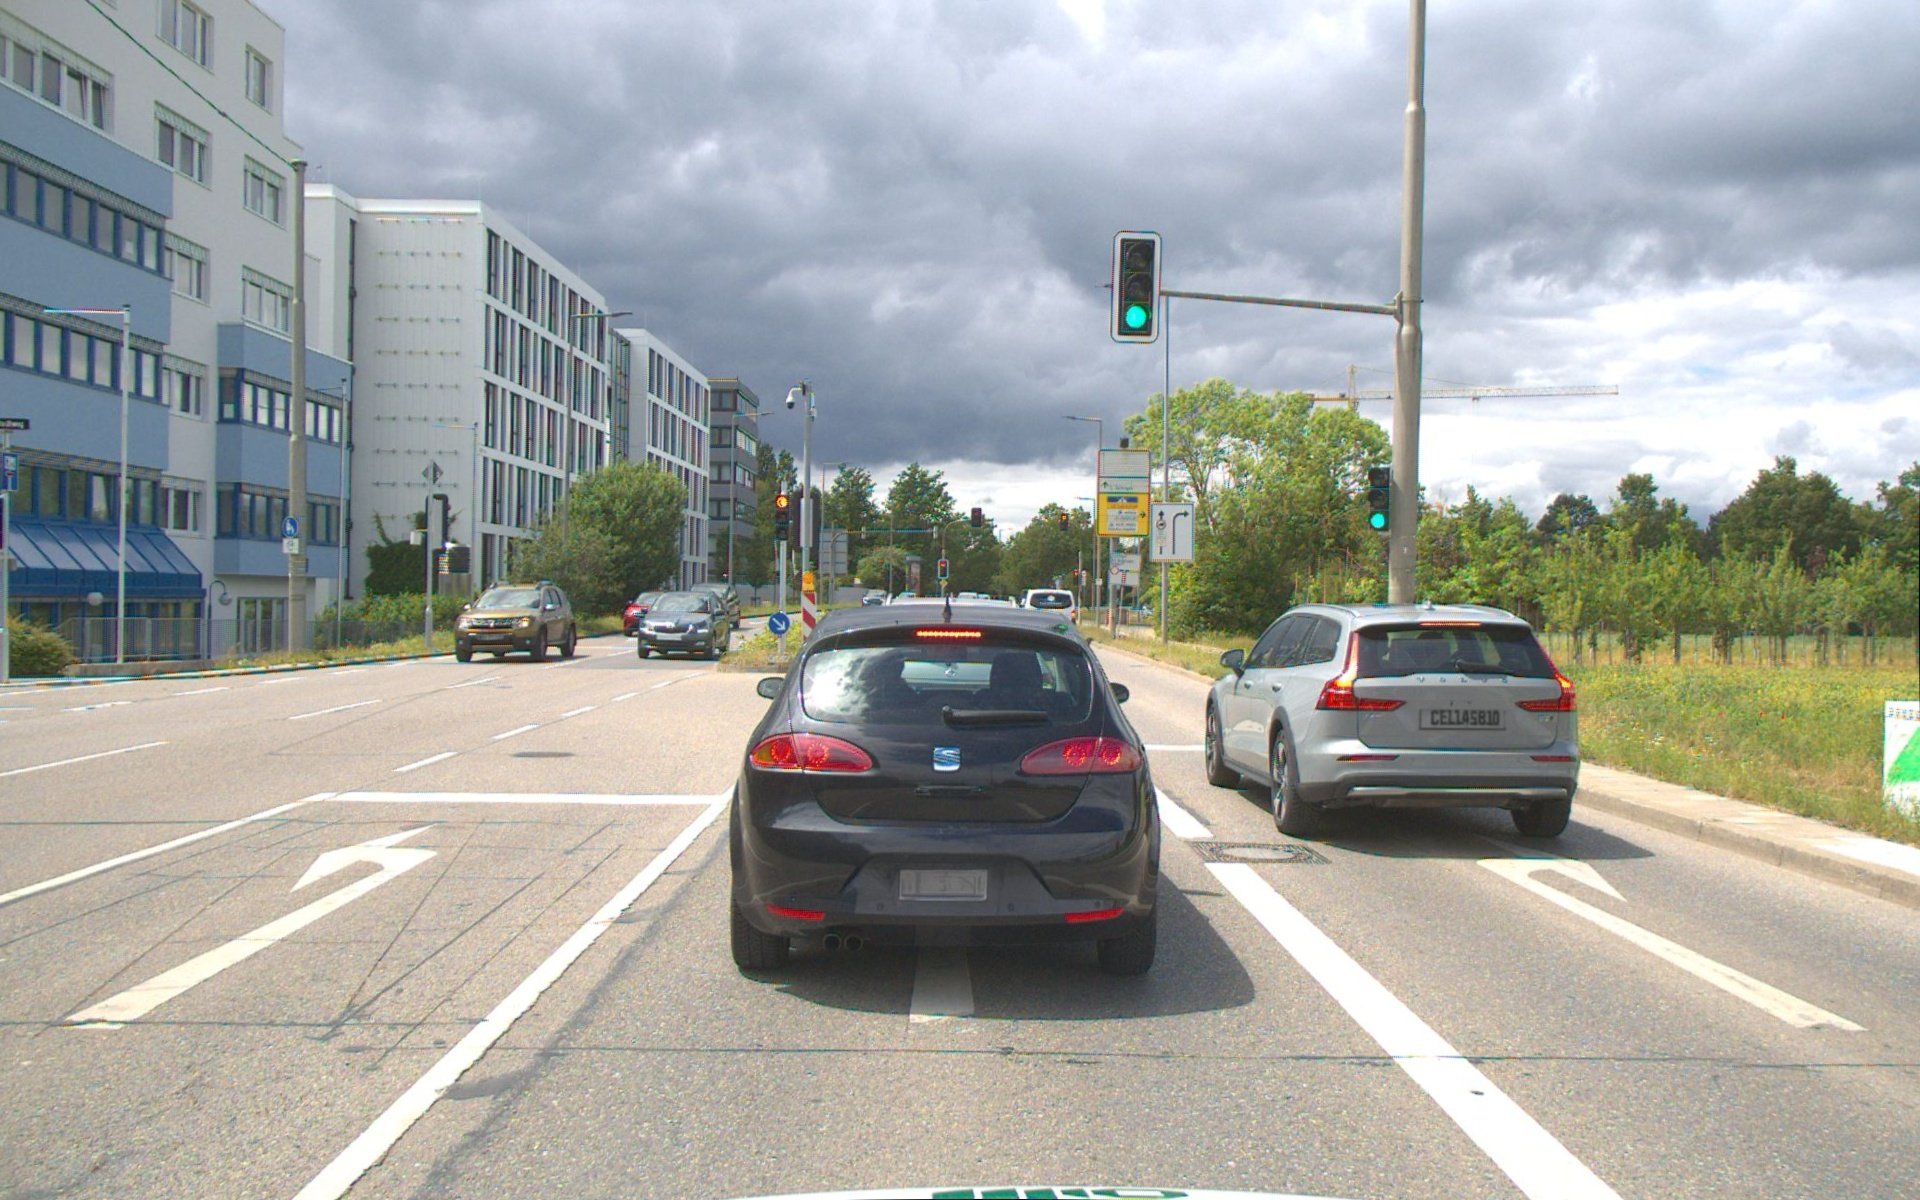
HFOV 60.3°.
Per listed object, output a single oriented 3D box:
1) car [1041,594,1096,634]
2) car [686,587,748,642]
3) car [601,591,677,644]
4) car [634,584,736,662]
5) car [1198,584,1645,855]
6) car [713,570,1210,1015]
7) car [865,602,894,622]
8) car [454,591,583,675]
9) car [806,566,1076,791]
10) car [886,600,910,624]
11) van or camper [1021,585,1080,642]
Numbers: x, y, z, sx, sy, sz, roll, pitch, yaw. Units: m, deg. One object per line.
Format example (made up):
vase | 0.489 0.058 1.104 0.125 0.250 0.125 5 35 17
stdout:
car | 4.138 0.544 63.542 1.808 1.487 4.055 0 0 -1
car | -9.331 0.568 63.874 1.954 2.049 4.478 0 0 -3
car | -10.380 0.568 53.746 1.740 1.640 3.999 0 0 -1
car | -6.118 0.472 37.122 1.635 1.551 4.007 -2 1 -1
car | 3.018 0.715 11.858 1.918 1.552 4.339 -1 0 -1
car | 0.091 0.688 7.836 1.711 1.510 4.001 2 0 2
car | -5.806 0.852 120.207 1.953 1.434 3.999 0 0 -1
car | -9.400 0.658 35.515 1.715 1.659 3.999 -1 0 -1
car | -0.190 0.587 14.197 1.943 1.618 4.224 1 0 -2
car | -5.301 1.025 141.073 1.953 2.049 3.999 0 0 -1
van or camper | 3.196 0.482 59.076 1.860 1.959 3.999 0 0 -1
